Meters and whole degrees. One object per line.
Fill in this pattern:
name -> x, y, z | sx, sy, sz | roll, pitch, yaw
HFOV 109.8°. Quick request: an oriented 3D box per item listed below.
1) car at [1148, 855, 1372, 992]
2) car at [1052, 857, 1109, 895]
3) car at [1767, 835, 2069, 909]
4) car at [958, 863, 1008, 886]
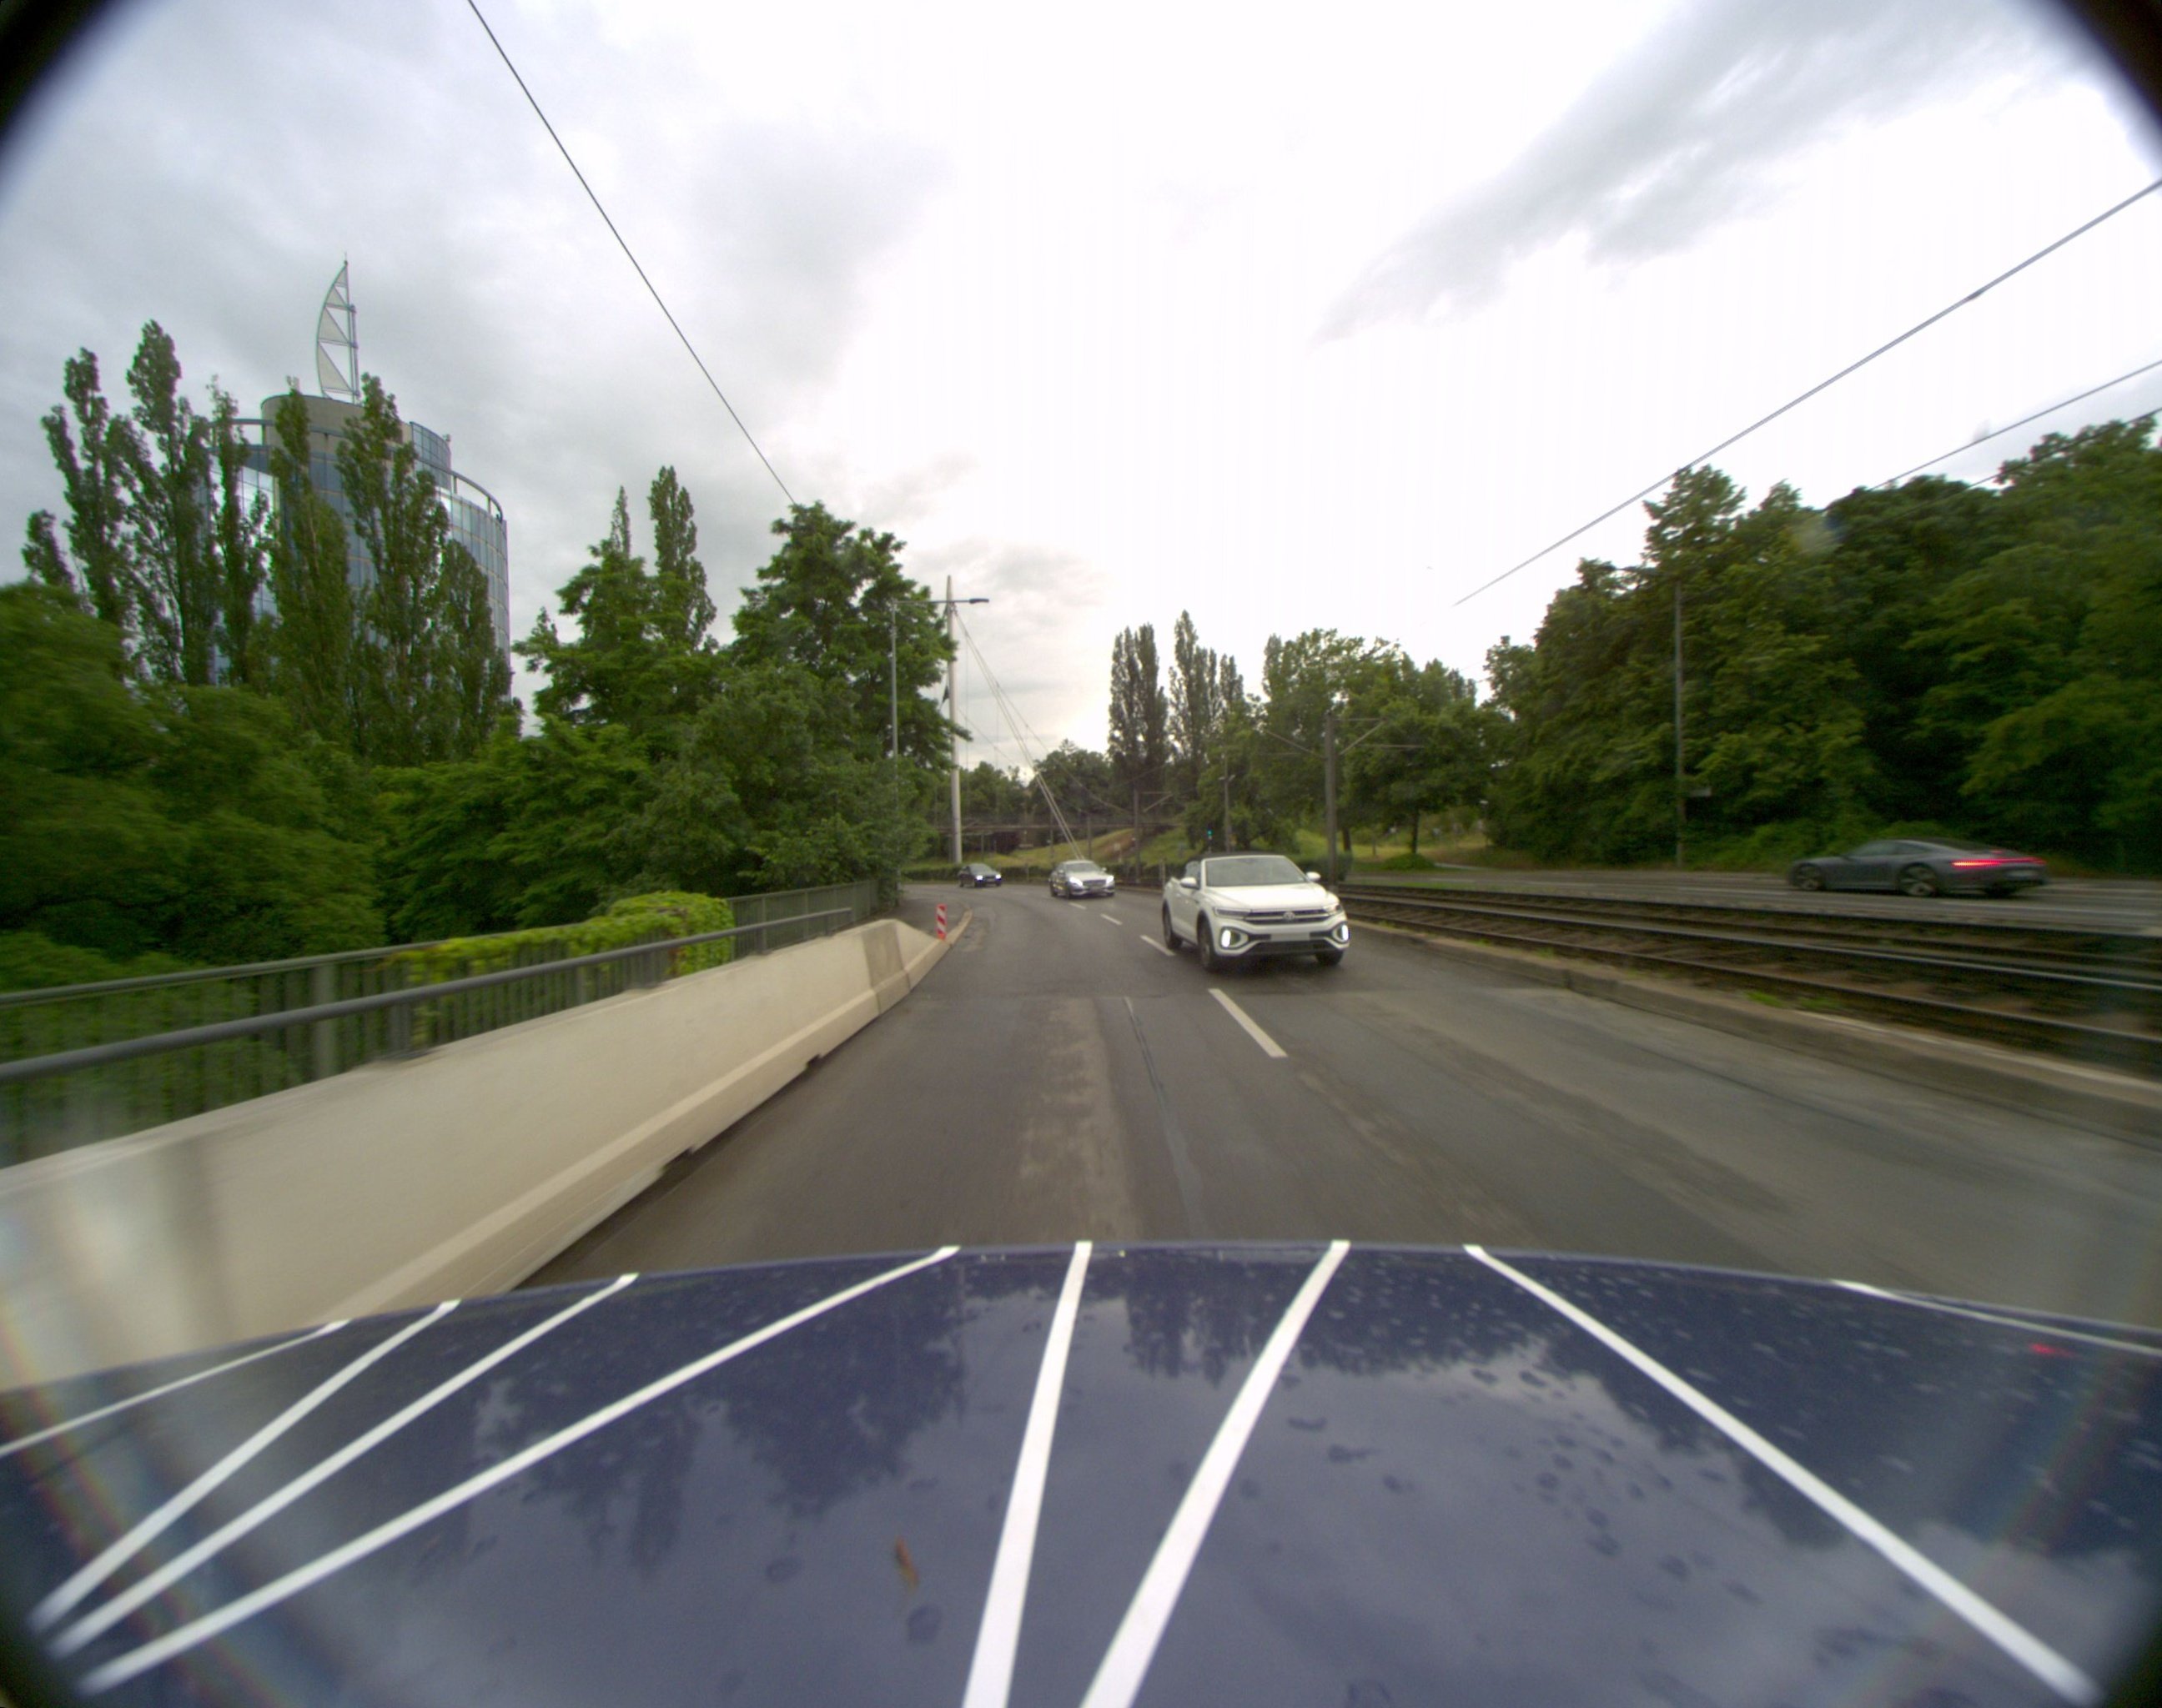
car -> 2.327, 0.817, 11.229 | 1.877, 1.515, 4.538 | -2, 0, -4
car -> -0.084, 0.874, 31.568 | 1.872, 1.348, 4.058 | -3, 0, -6
car -> 18.796, 0.299, 17.476 | 1.841, 1.307, 4.616 | -4, 2, 0
car -> -6.220, 1.250, 47.743 | 1.740, 1.344, 3.991 | -2, 1, -29
